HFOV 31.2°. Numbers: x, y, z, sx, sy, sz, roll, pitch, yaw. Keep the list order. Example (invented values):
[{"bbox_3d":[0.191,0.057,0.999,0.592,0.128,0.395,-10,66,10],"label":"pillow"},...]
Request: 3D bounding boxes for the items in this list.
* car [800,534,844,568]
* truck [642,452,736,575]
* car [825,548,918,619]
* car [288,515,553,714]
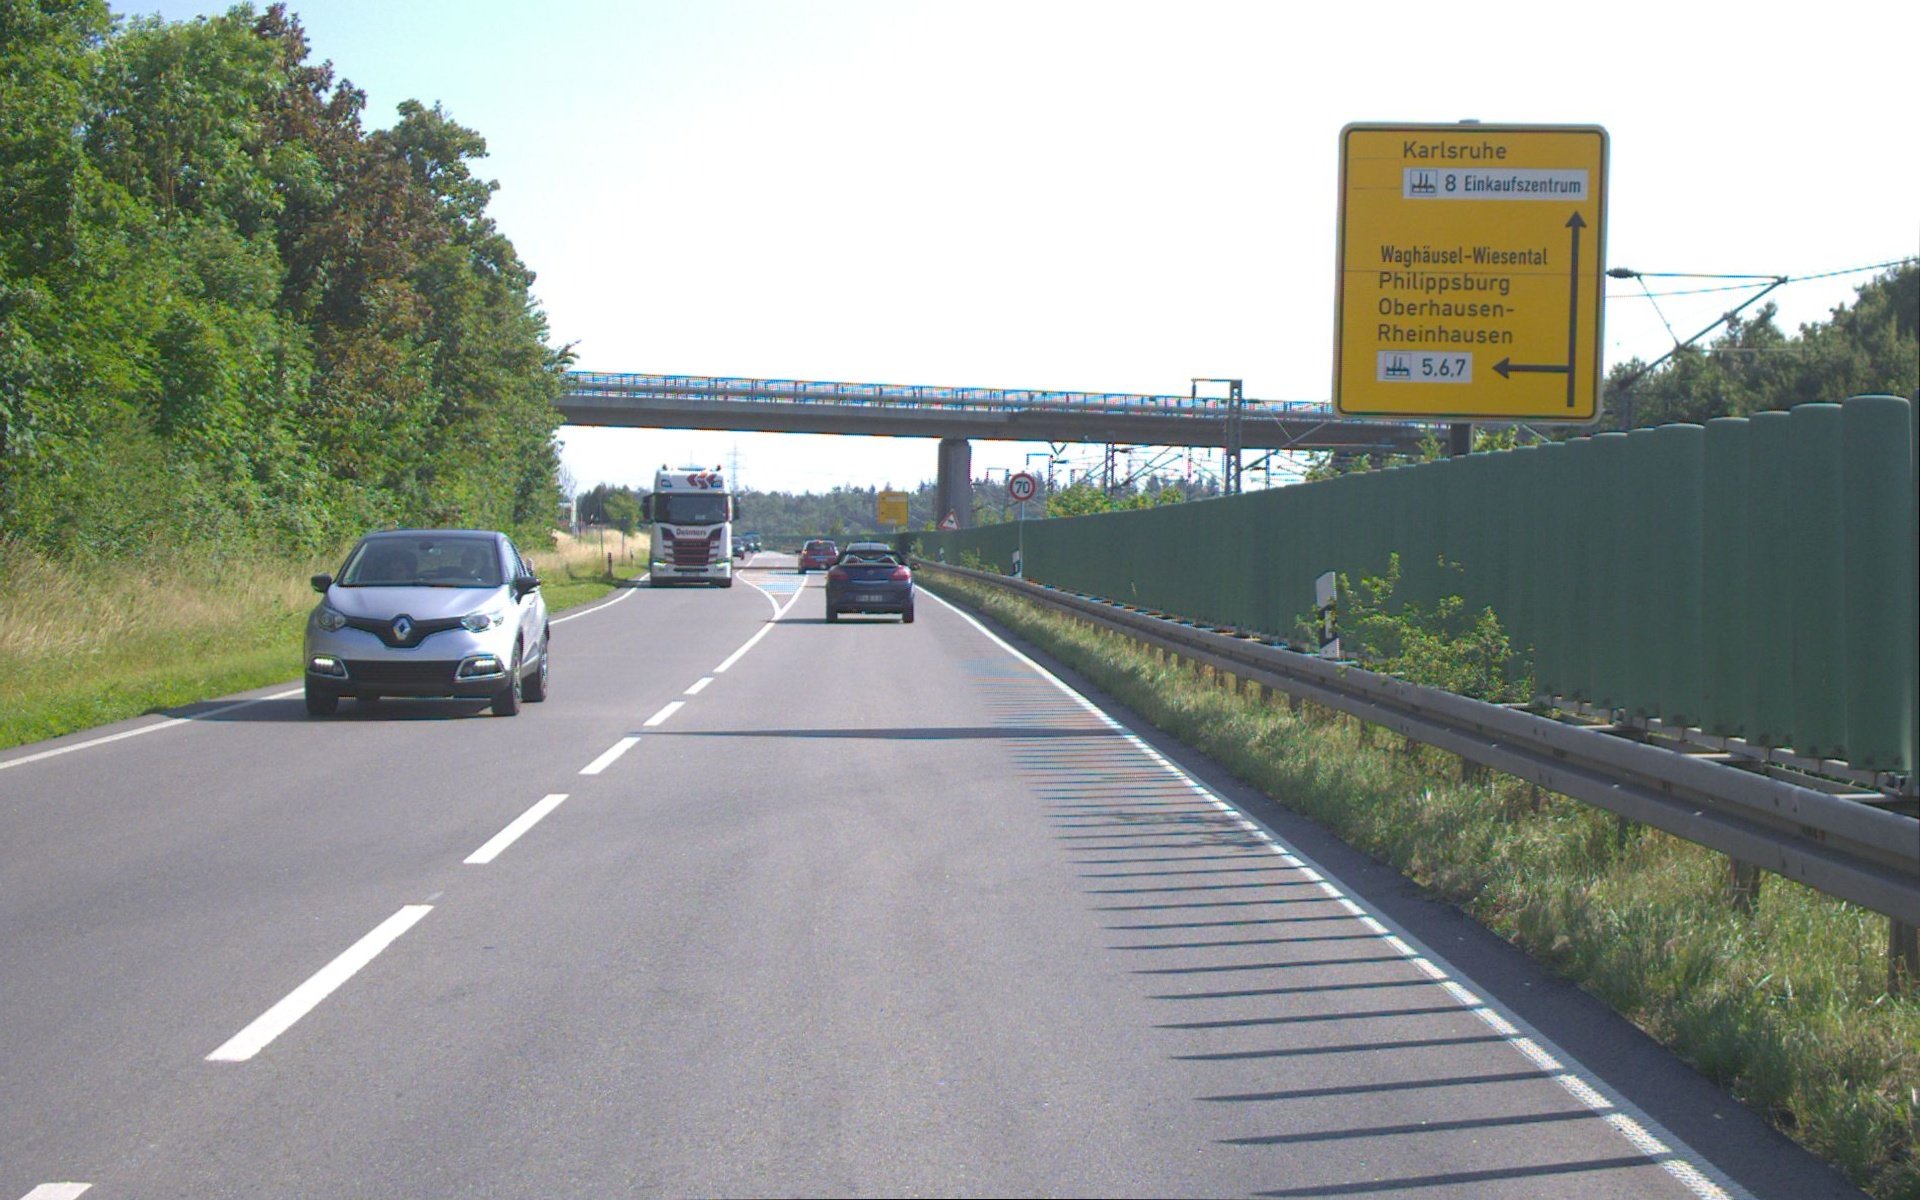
[{"bbox_3d":[-6.033,-2.135,150.344,1.895,1.413,4.000,1,1,-2],"label":"car"},{"bbox_3d":[-8.581,-2.731,109.711,2.559,3.676,10.489,1,1,-2],"label":"truck"},{"bbox_3d":[-1.683,-0.327,64.513,1.663,1.257,4.000,1,1,-2],"label":"car"},{"bbox_3d":[-4.609,0.091,29.865,1.795,1.588,4.000,1,1,-2],"label":"car"}]
